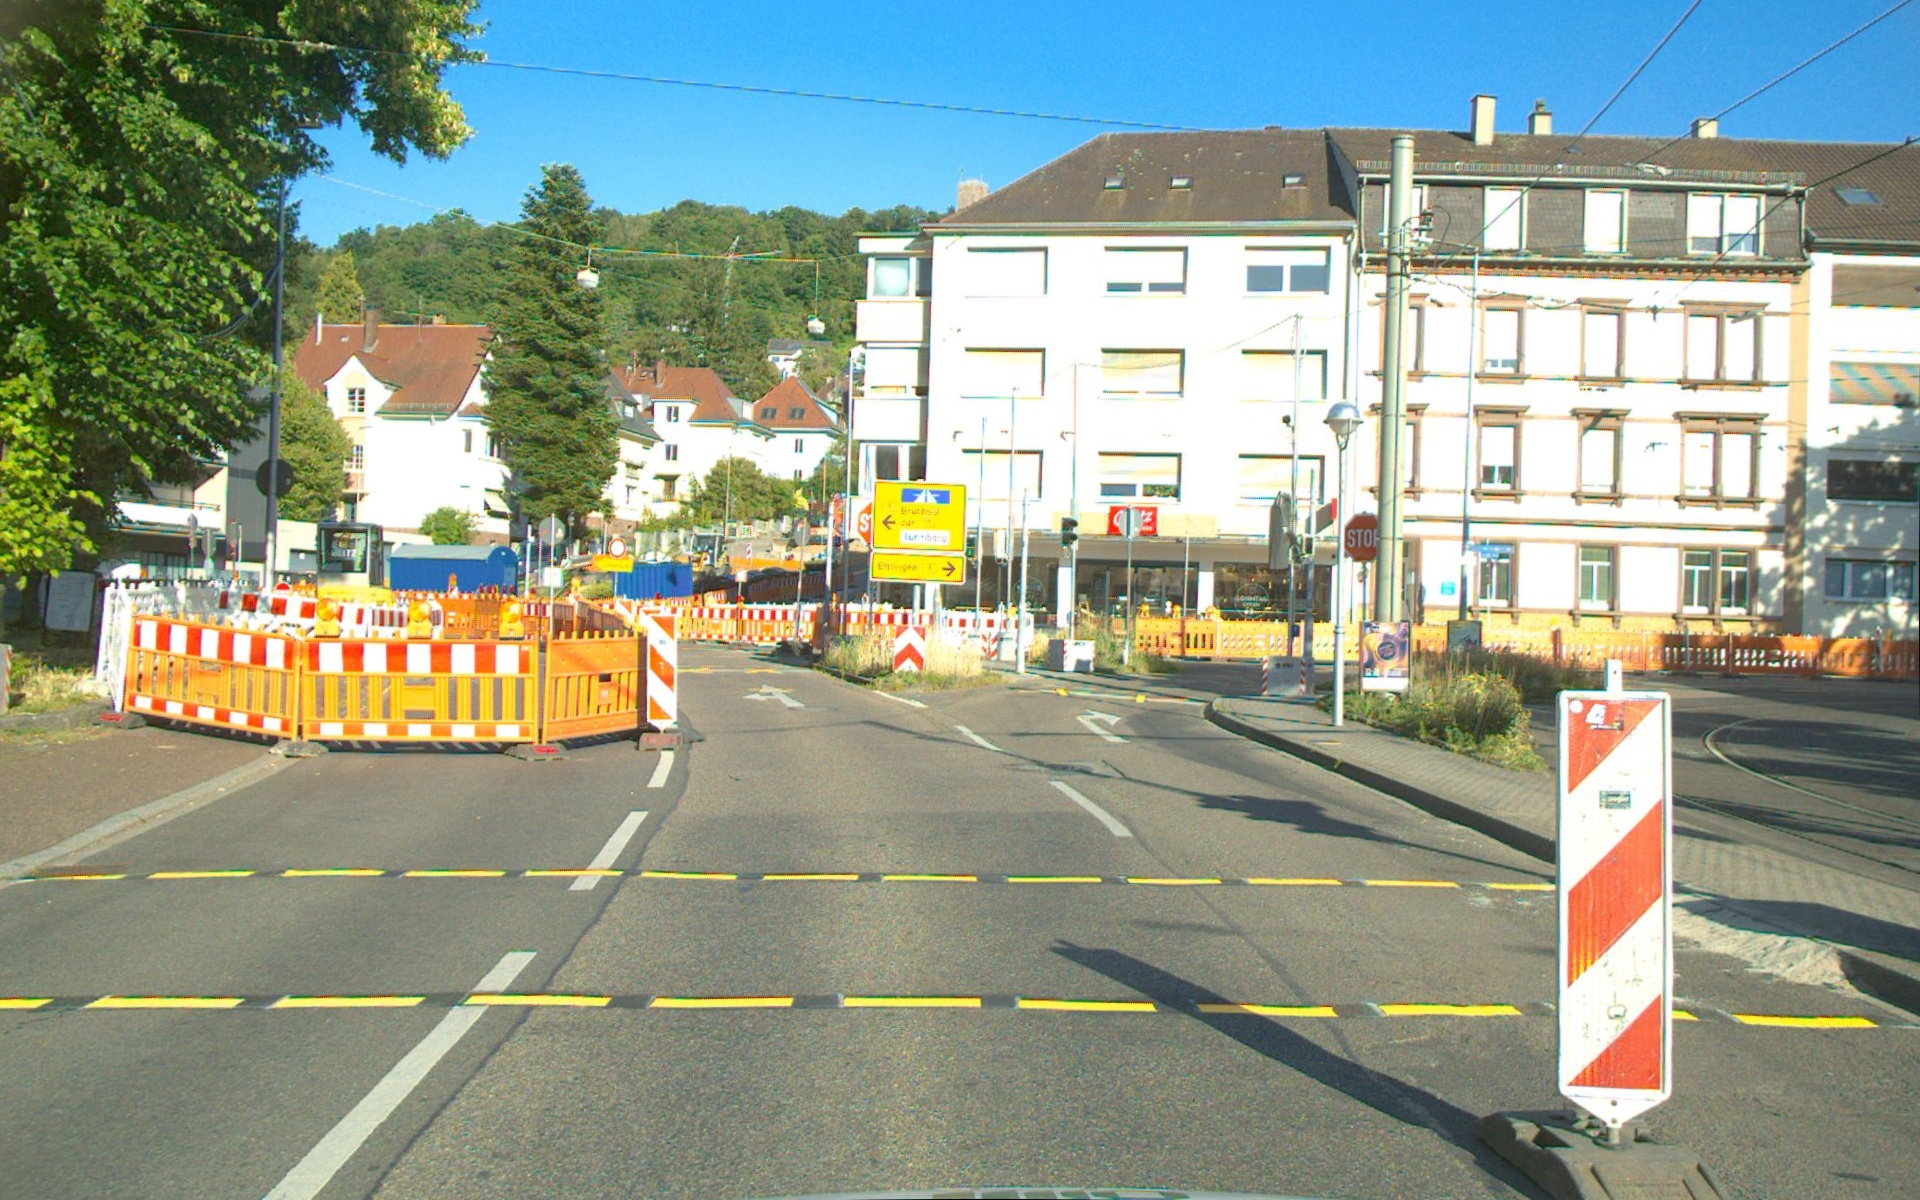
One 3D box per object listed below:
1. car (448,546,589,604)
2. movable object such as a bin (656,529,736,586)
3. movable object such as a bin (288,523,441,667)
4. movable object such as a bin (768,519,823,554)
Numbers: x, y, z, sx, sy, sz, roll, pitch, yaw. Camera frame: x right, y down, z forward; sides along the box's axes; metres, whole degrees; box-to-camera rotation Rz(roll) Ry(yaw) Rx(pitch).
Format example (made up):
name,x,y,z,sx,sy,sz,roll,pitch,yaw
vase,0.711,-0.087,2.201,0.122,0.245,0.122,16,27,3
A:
name,x,y,z,sx,sy,sz,roll,pitch,yaw
car,-17.469,-0.944,65.874,2.529,2.158,6.154,1,0,17
movable object such as a bin,-12.533,-2.006,78.791,1.907,2.538,4.554,1,0,17
movable object such as a bin,-10.476,-0.096,29.338,1.615,2.365,3.916,1,0,-6
movable object such as a bin,-11.375,-4.394,114.741,2.510,2.159,5.789,1,0,8
